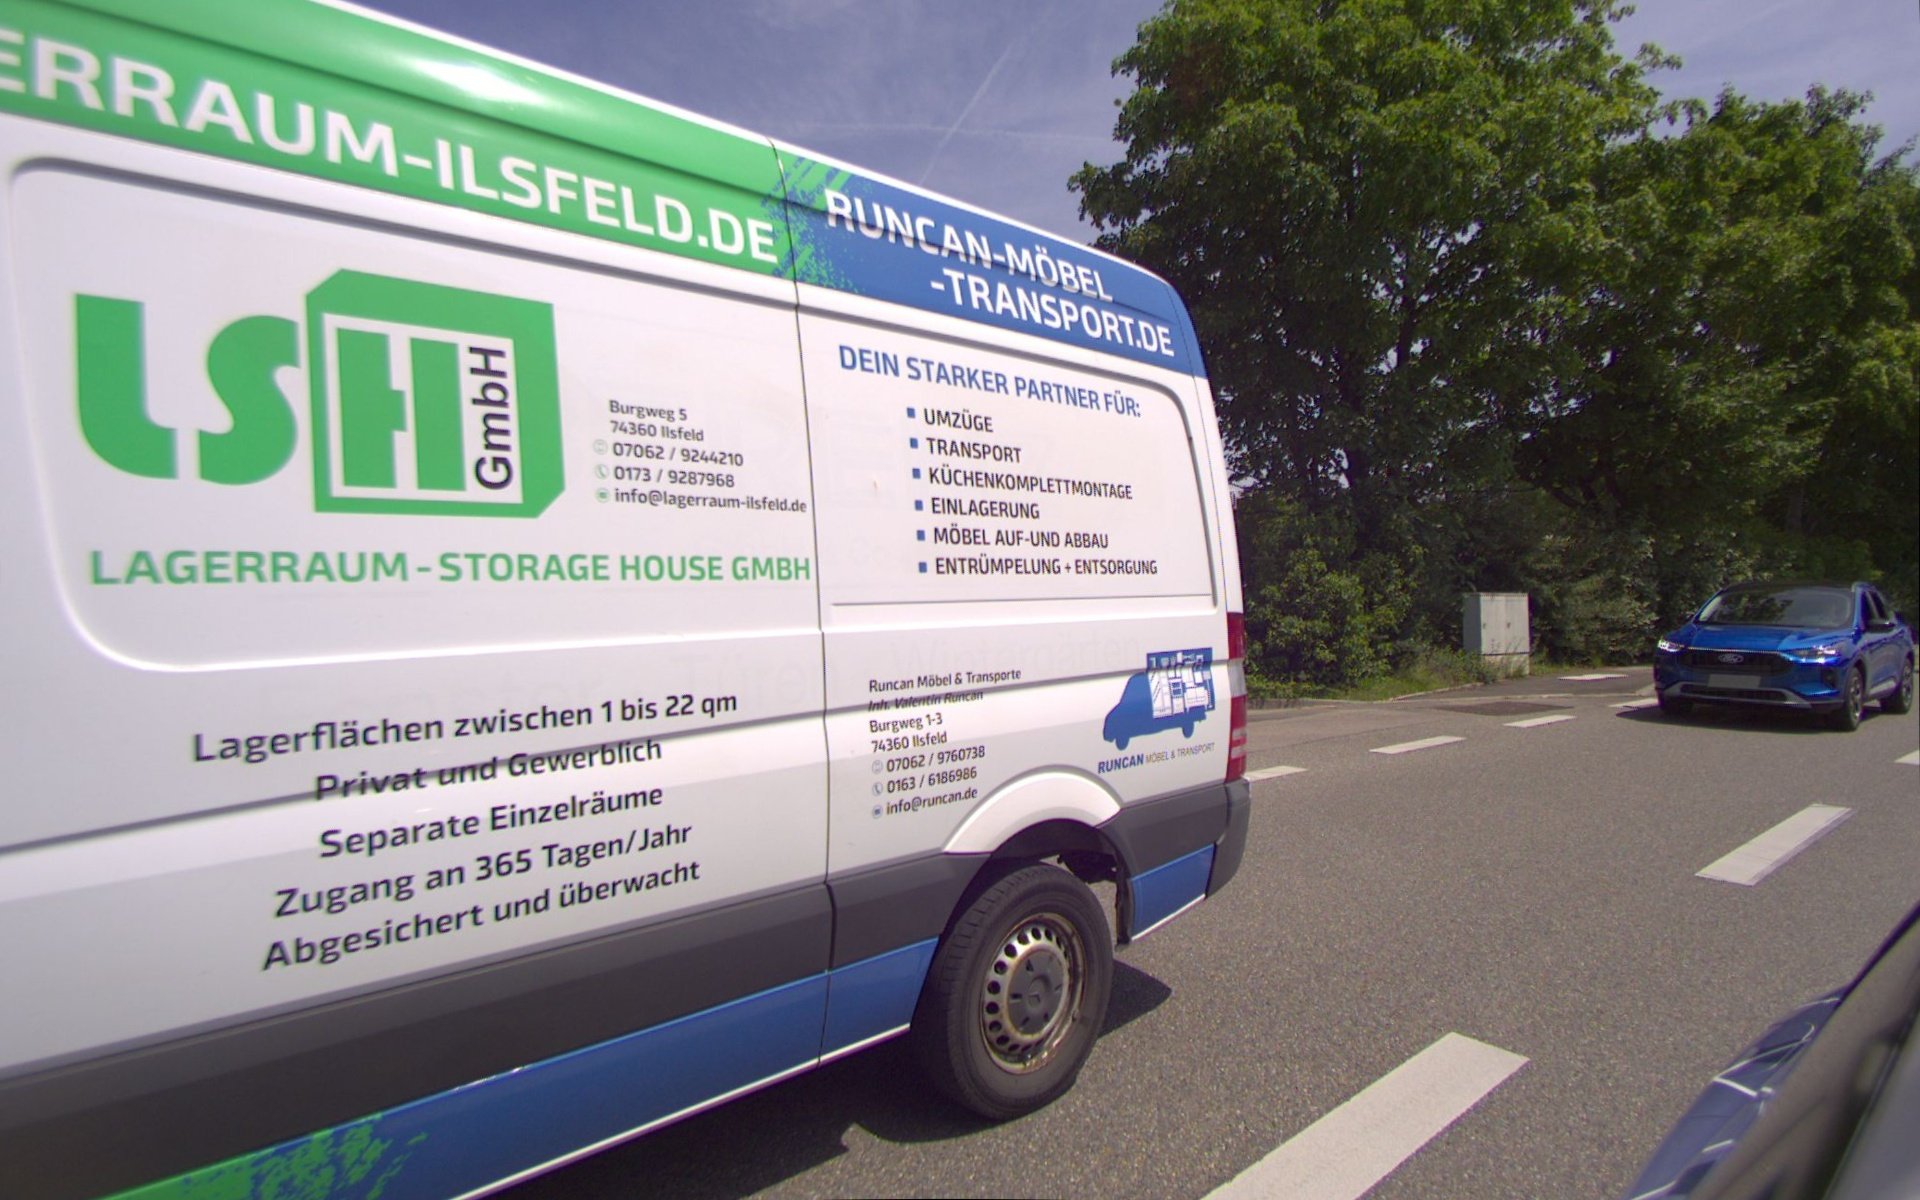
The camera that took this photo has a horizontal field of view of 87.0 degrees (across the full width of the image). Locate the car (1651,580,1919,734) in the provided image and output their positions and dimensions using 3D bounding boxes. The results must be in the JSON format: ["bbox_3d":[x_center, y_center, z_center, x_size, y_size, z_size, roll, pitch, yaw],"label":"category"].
[{"bbox_3d":[10.294,0.560,12.376,4.307,1.578,1.784,0,1,-37],"label":"car"}]

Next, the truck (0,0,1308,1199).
[{"bbox_3d":[-1.616,0.016,2.492,5.839,2.772,2.070,0,0,-41],"label":"truck"}]
